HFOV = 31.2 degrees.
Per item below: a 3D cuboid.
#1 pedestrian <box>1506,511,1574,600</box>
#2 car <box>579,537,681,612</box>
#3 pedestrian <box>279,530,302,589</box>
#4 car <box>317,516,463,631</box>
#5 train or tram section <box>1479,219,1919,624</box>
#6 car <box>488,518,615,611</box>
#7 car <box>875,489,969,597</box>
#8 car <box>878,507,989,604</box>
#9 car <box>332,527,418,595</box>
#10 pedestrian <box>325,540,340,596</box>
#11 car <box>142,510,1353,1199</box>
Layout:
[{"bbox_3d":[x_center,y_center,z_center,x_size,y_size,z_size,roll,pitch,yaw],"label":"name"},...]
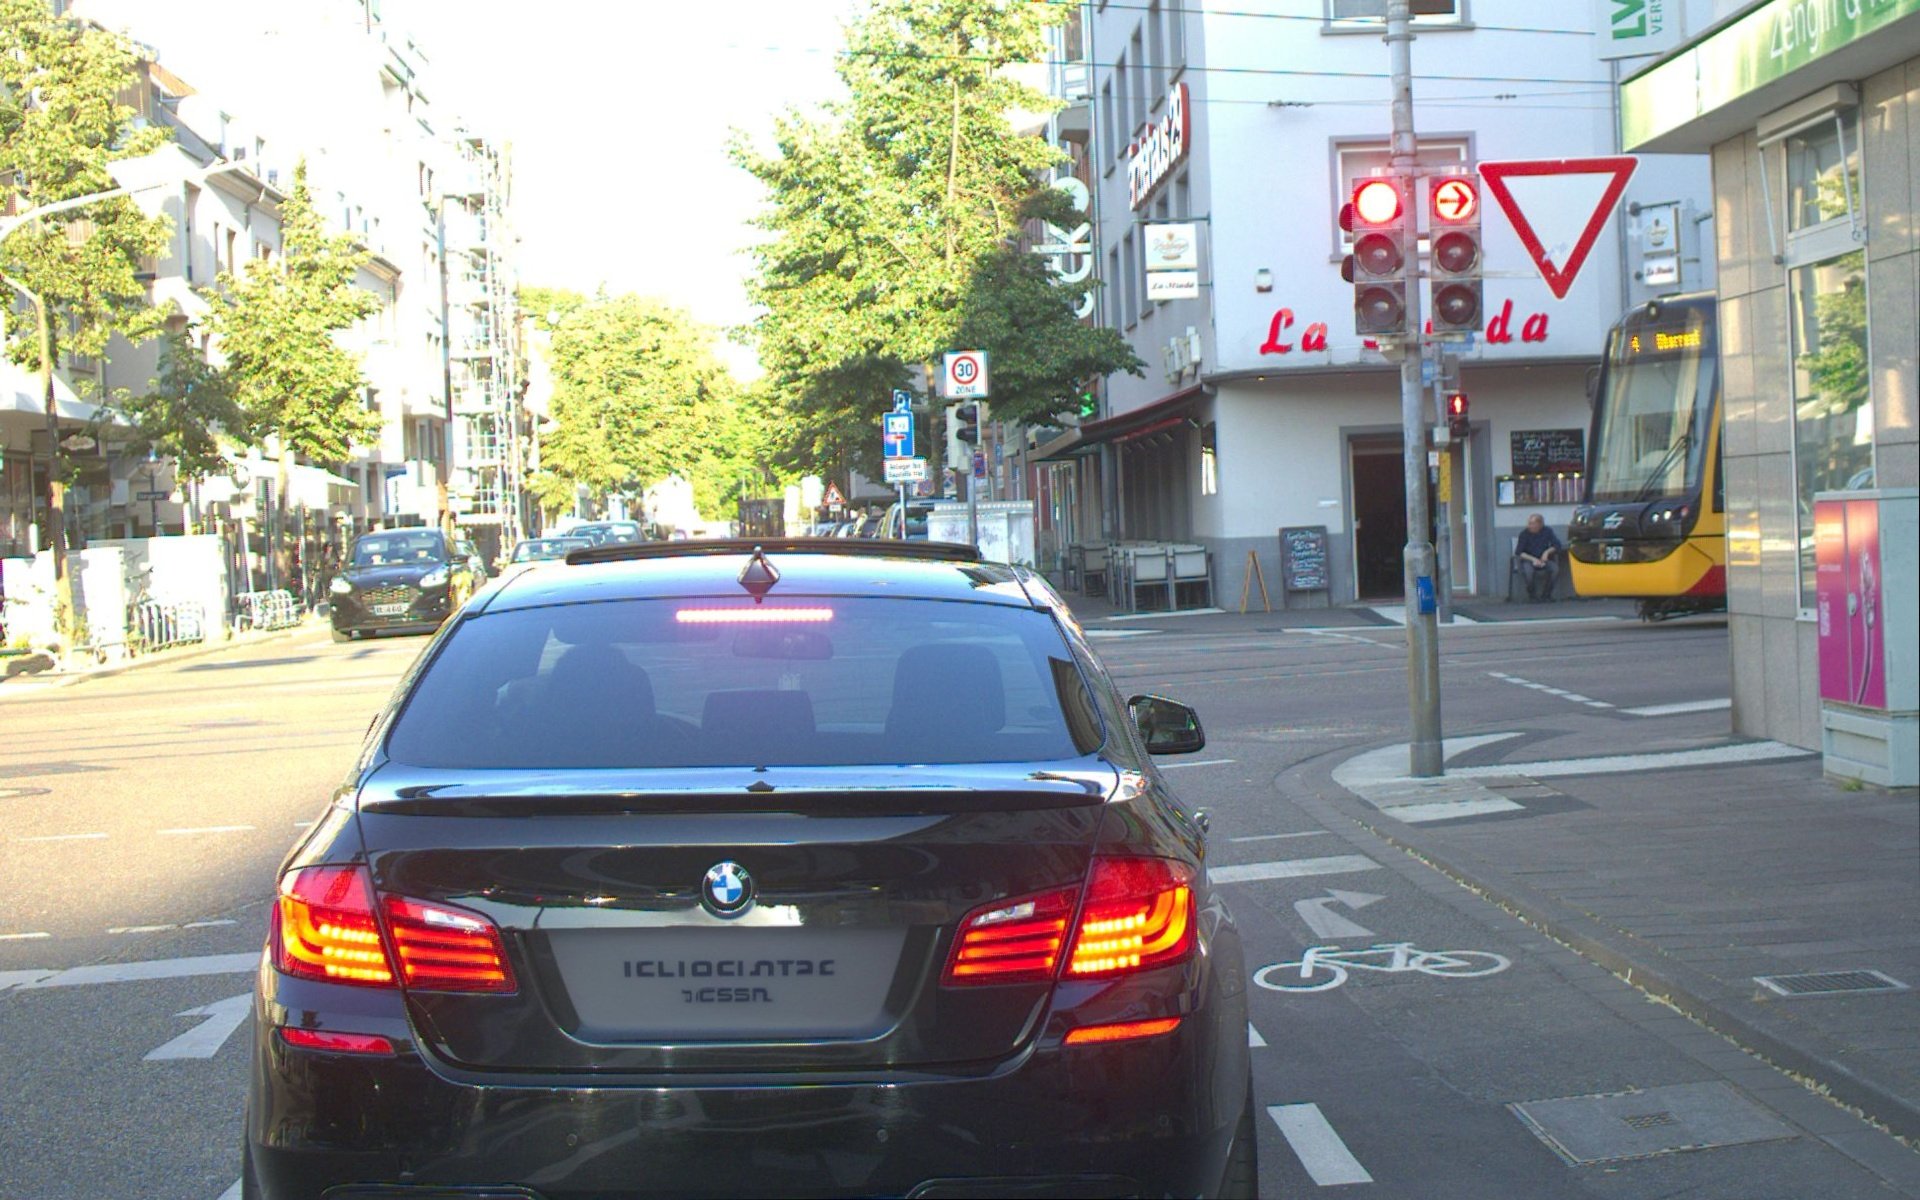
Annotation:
[{"bbox_3d":[7.813,-0.602,46.323,0.697,1.153,0.844,-2,1,-3],"label":"pedestrian"},{"bbox_3d":[-6.212,-0.505,64.429,1.733,1.288,4.001,-2,1,-7],"label":"car"},{"bbox_3d":[-16.199,-0.980,83.189,0.444,1.411,0.525,-2,1,-4],"label":"pedestrian"},{"bbox_3d":[-8.611,-0.423,52.228,1.993,1.612,4.001,-2,1,-7],"label":"car"},{"bbox_3d":[11.576,-2.021,37.311,12.616,3.852,3.081,-3,2,-32],"label":"train or tram section"},{"bbox_3d":[-6.873,-0.615,57.665,1.993,1.437,4.001,-2,1,-7],"label":"car"},{"bbox_3d":[-0.699,-1.010,60.986,1.421,1.848,3.053,-1,1,-5],"label":"car"},{"bbox_3d":[-0.449,-0.706,54.590,1.625,1.466,3.395,-1,1,-2],"label":"car"},{"bbox_3d":[-13.424,-0.907,79.013,1.733,1.456,4.001,-2,1,-7],"label":"car"},{"bbox_3d":[-15.252,-0.786,83.567,0.306,1.354,0.285,-3,1,-10],"label":"pedestrian"},{"bbox_3d":[-0.449,0.584,7.681,1.903,1.535,4.450,1,1,-3],"label":"car"}]
